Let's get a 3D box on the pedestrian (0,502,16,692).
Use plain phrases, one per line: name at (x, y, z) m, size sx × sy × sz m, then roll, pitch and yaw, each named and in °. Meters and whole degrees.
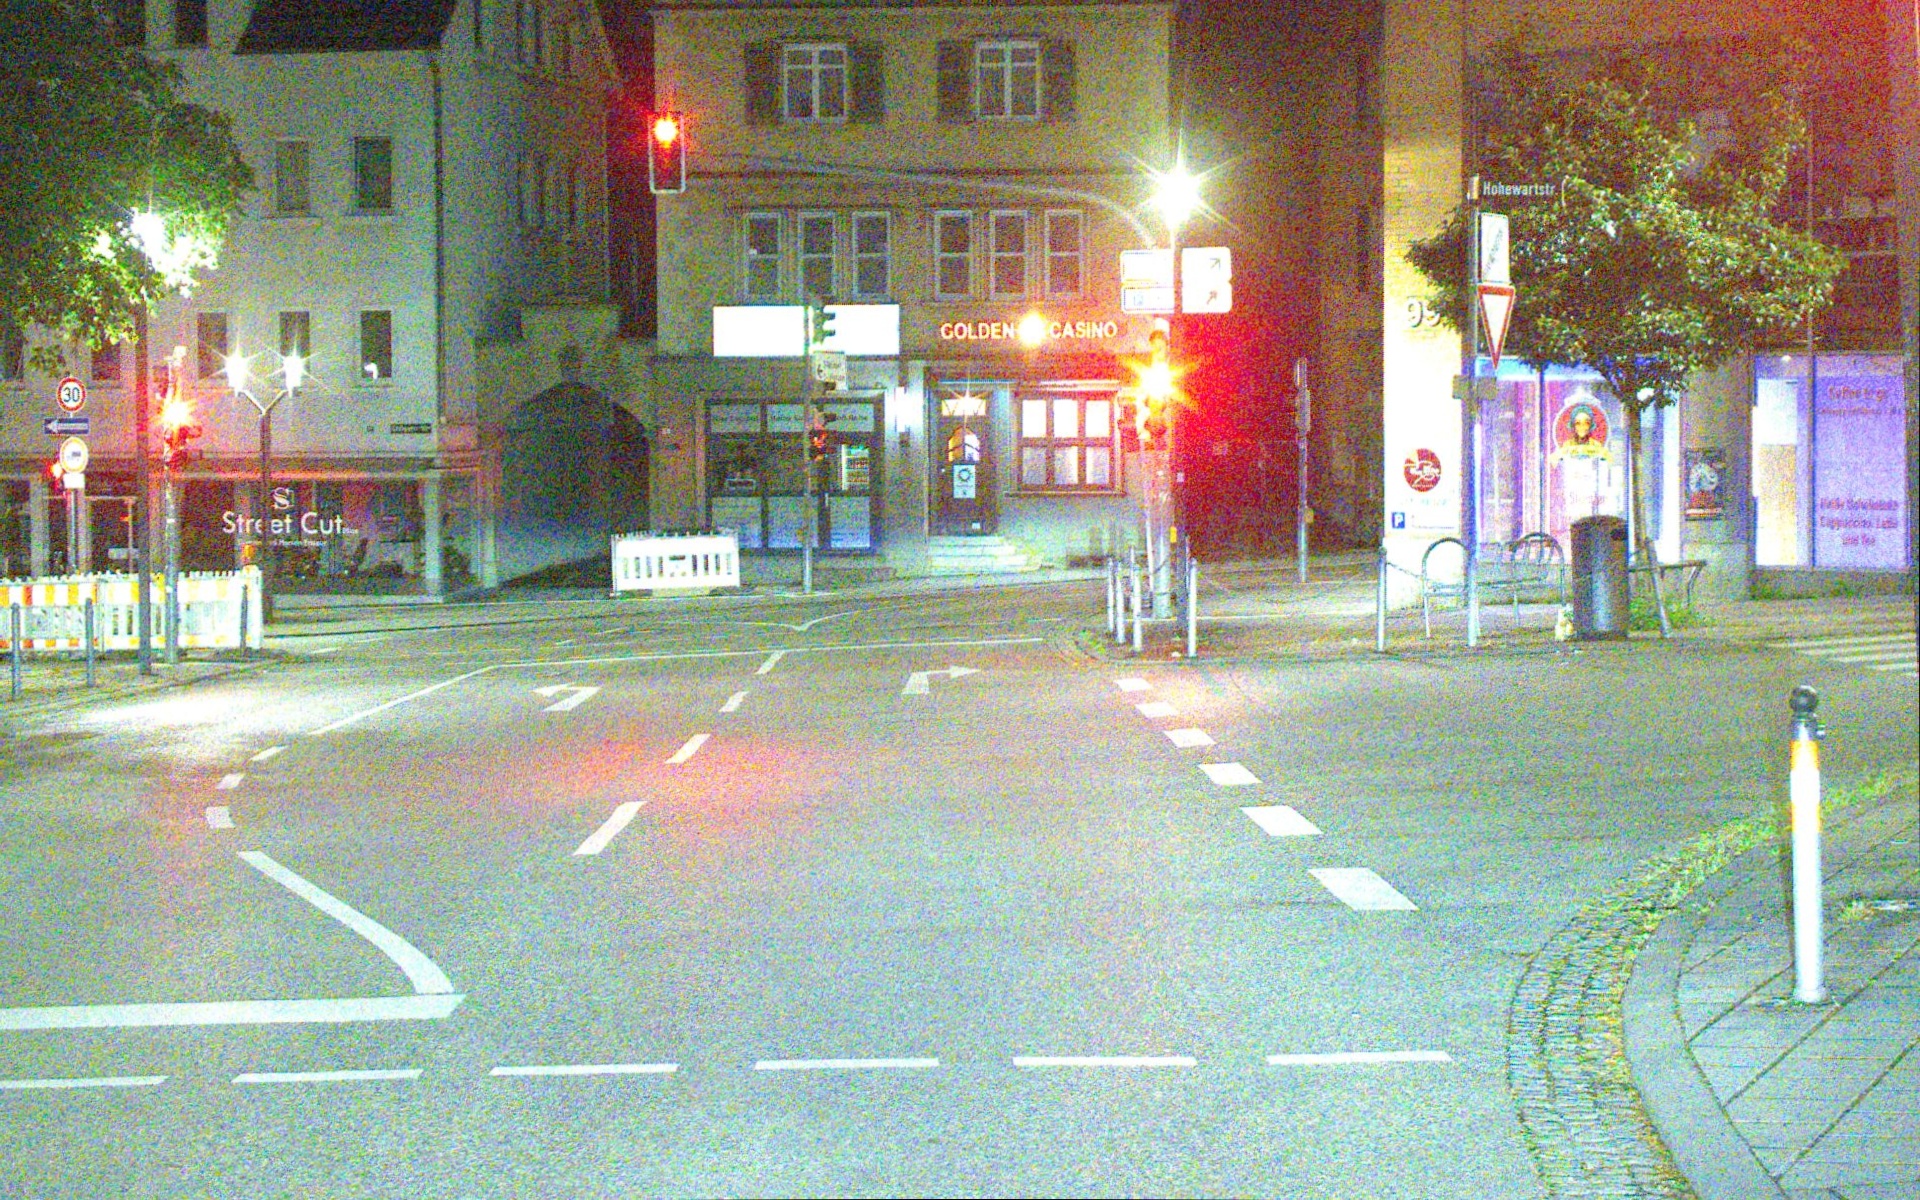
pedestrian at (-9.415, -0.031, 32.305) m, size 0.717 × 1.789 × 0.736 m, roll 0°, pitch -1°, yaw 27°
